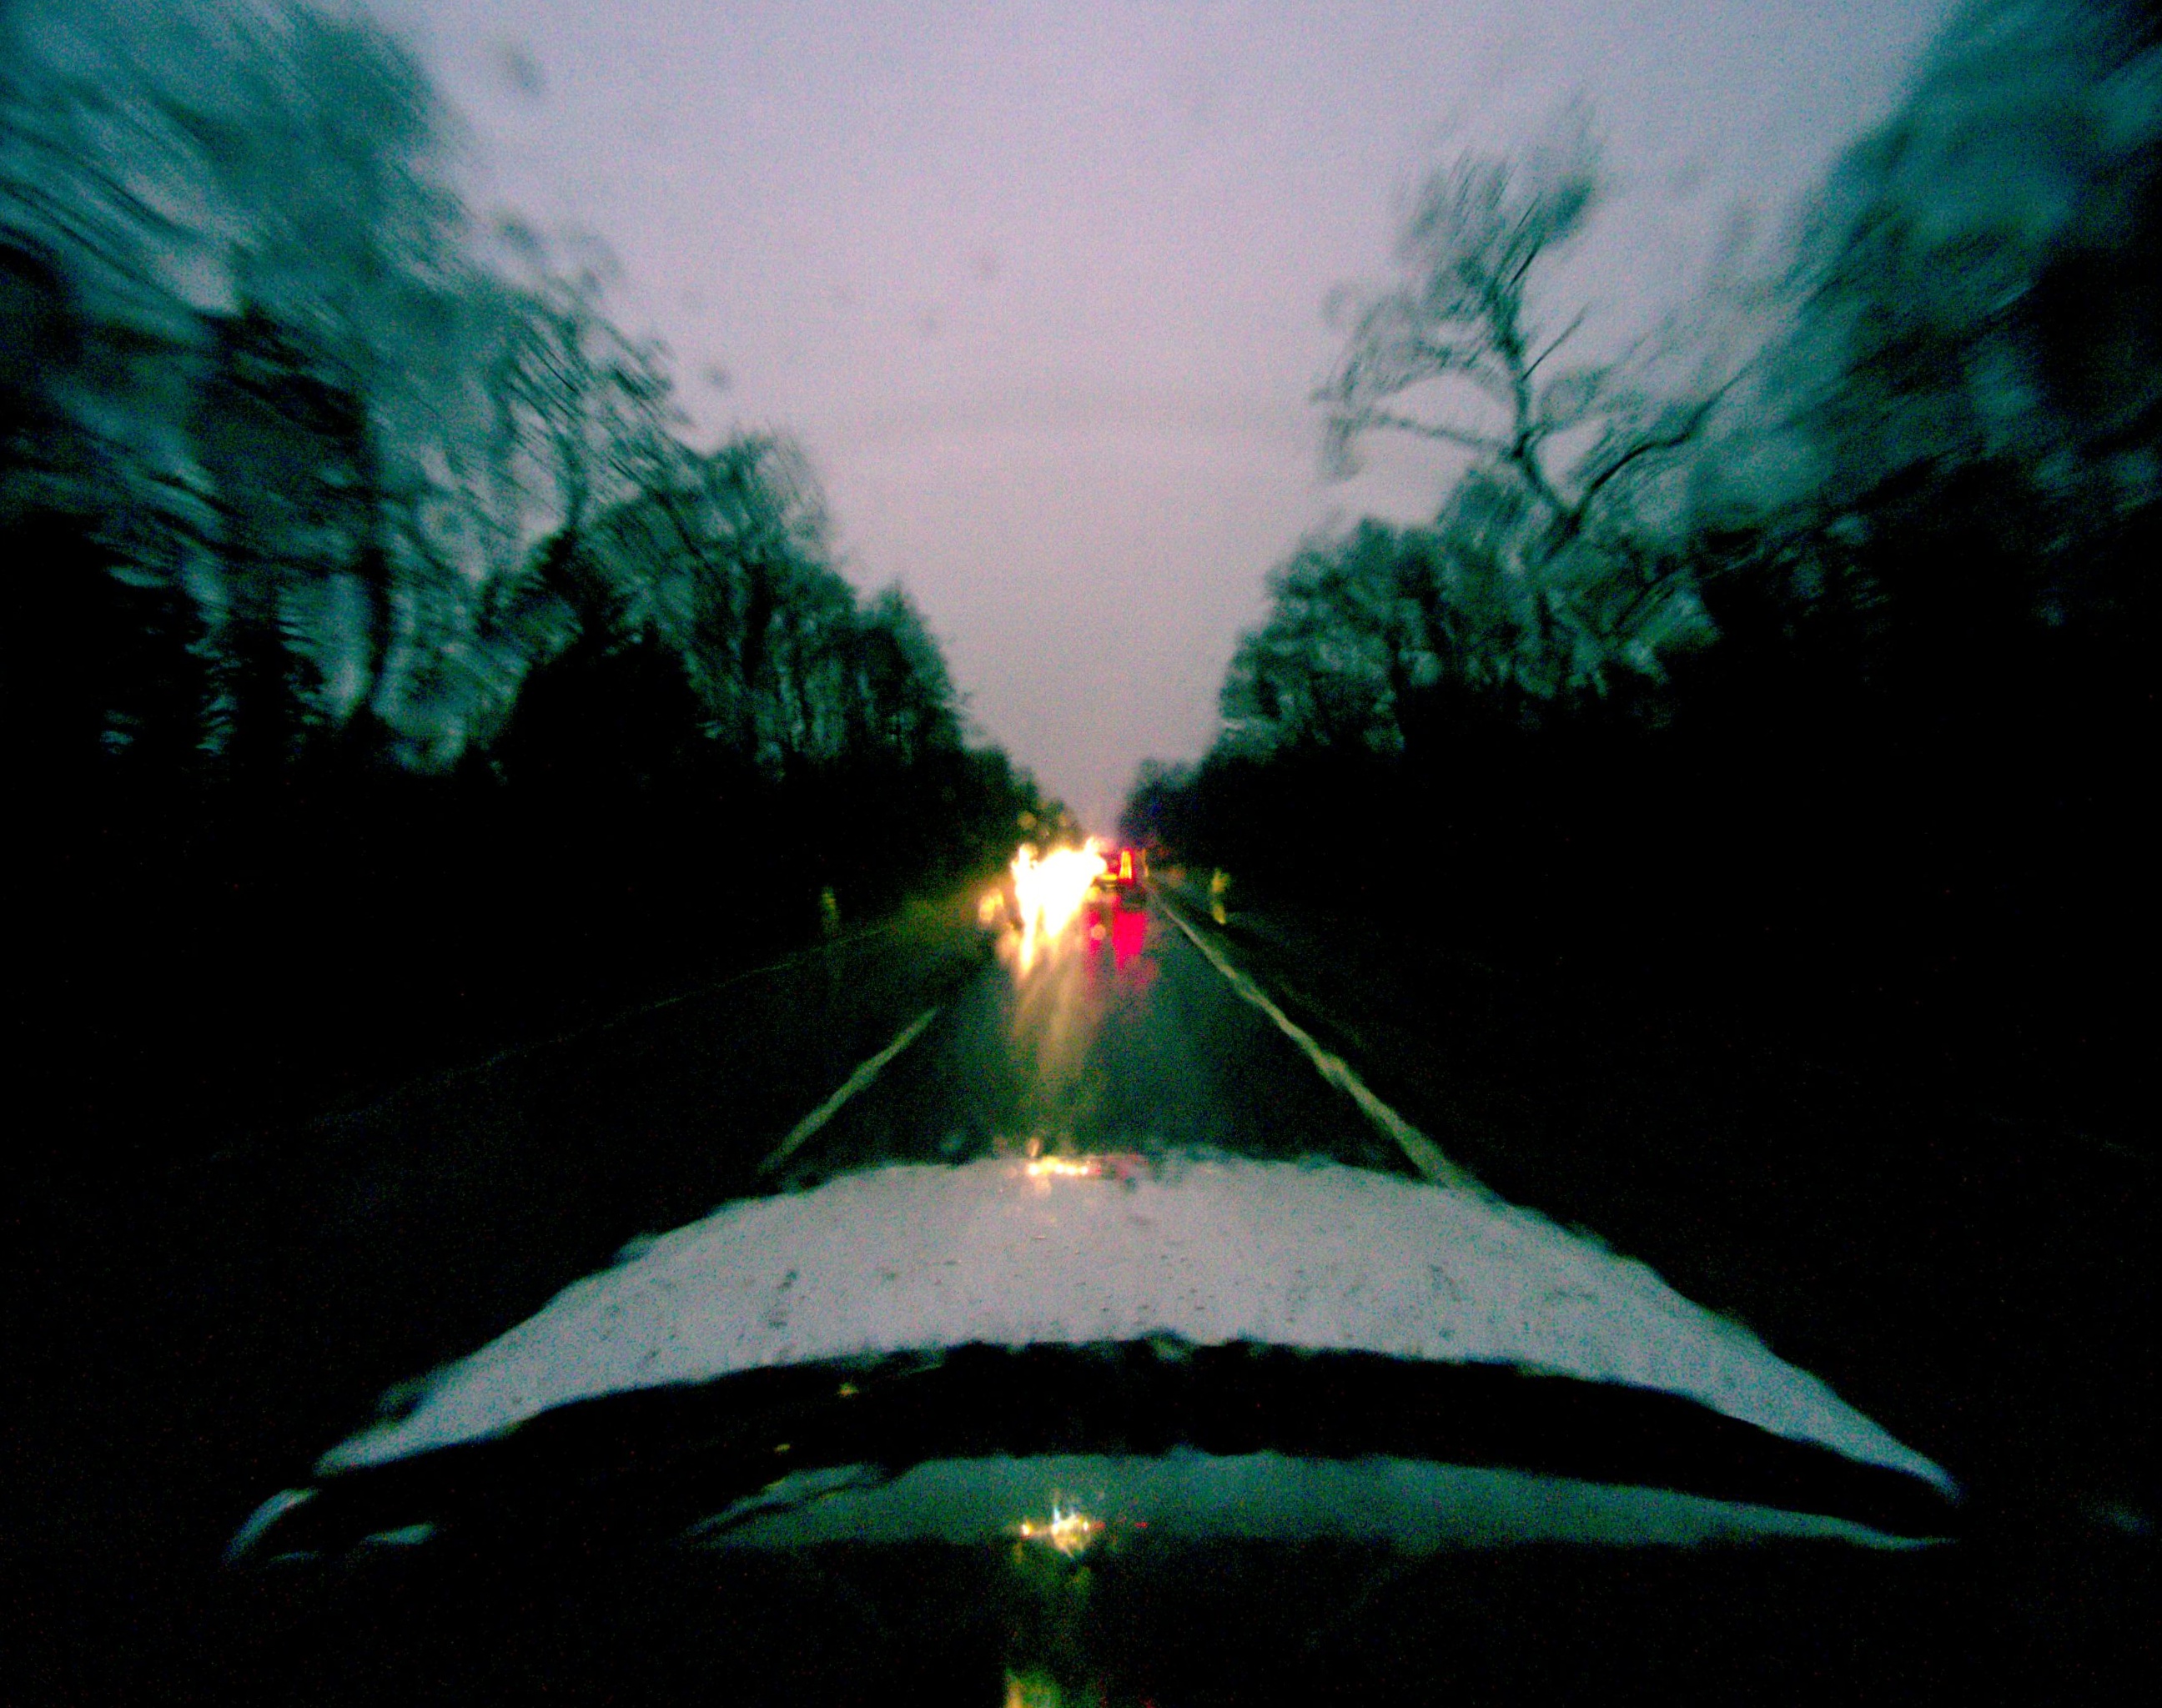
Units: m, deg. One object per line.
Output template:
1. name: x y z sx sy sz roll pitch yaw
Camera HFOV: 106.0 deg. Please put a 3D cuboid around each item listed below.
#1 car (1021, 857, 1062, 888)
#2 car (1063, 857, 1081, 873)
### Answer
1. car: -2.049 0.943 43.642 1.758 1.458 4.509 -3 0 2
2. car: -0.983 1.226 90.771 1.734 1.635 4.002 -2 0 2
